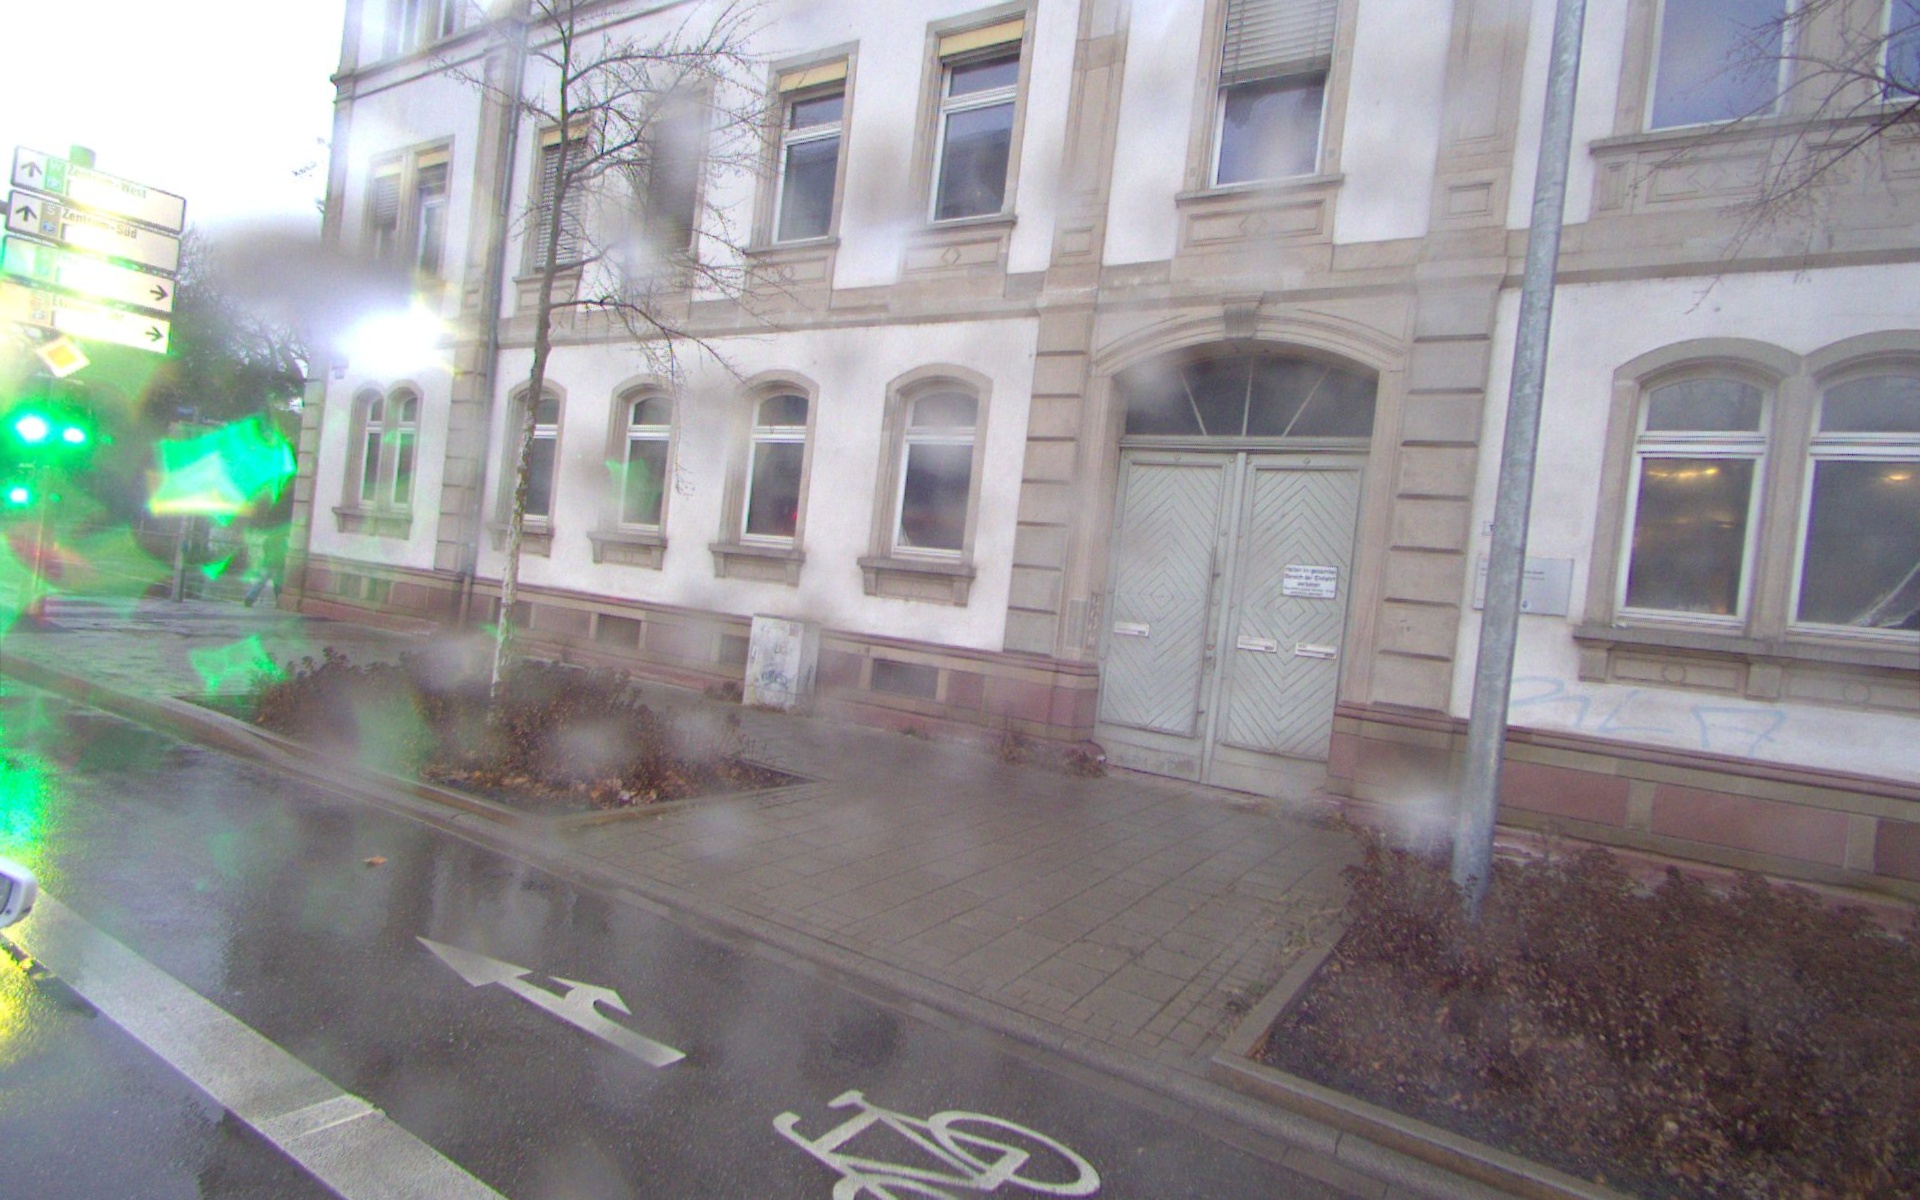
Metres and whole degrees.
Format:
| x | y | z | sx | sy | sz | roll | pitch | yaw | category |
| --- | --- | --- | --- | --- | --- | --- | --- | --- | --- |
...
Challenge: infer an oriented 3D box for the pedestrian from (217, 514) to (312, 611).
| x | y | z | sx | sy | sz | roll | pitch | yaw | category |
| --- | --- | --- | --- | --- | --- | --- | --- | --- | --- |
| -12.745 | -0.670 | 18.463 | 0.769 | 1.597 | 1.012 | 7 | -1 | 15 | pedestrian |
